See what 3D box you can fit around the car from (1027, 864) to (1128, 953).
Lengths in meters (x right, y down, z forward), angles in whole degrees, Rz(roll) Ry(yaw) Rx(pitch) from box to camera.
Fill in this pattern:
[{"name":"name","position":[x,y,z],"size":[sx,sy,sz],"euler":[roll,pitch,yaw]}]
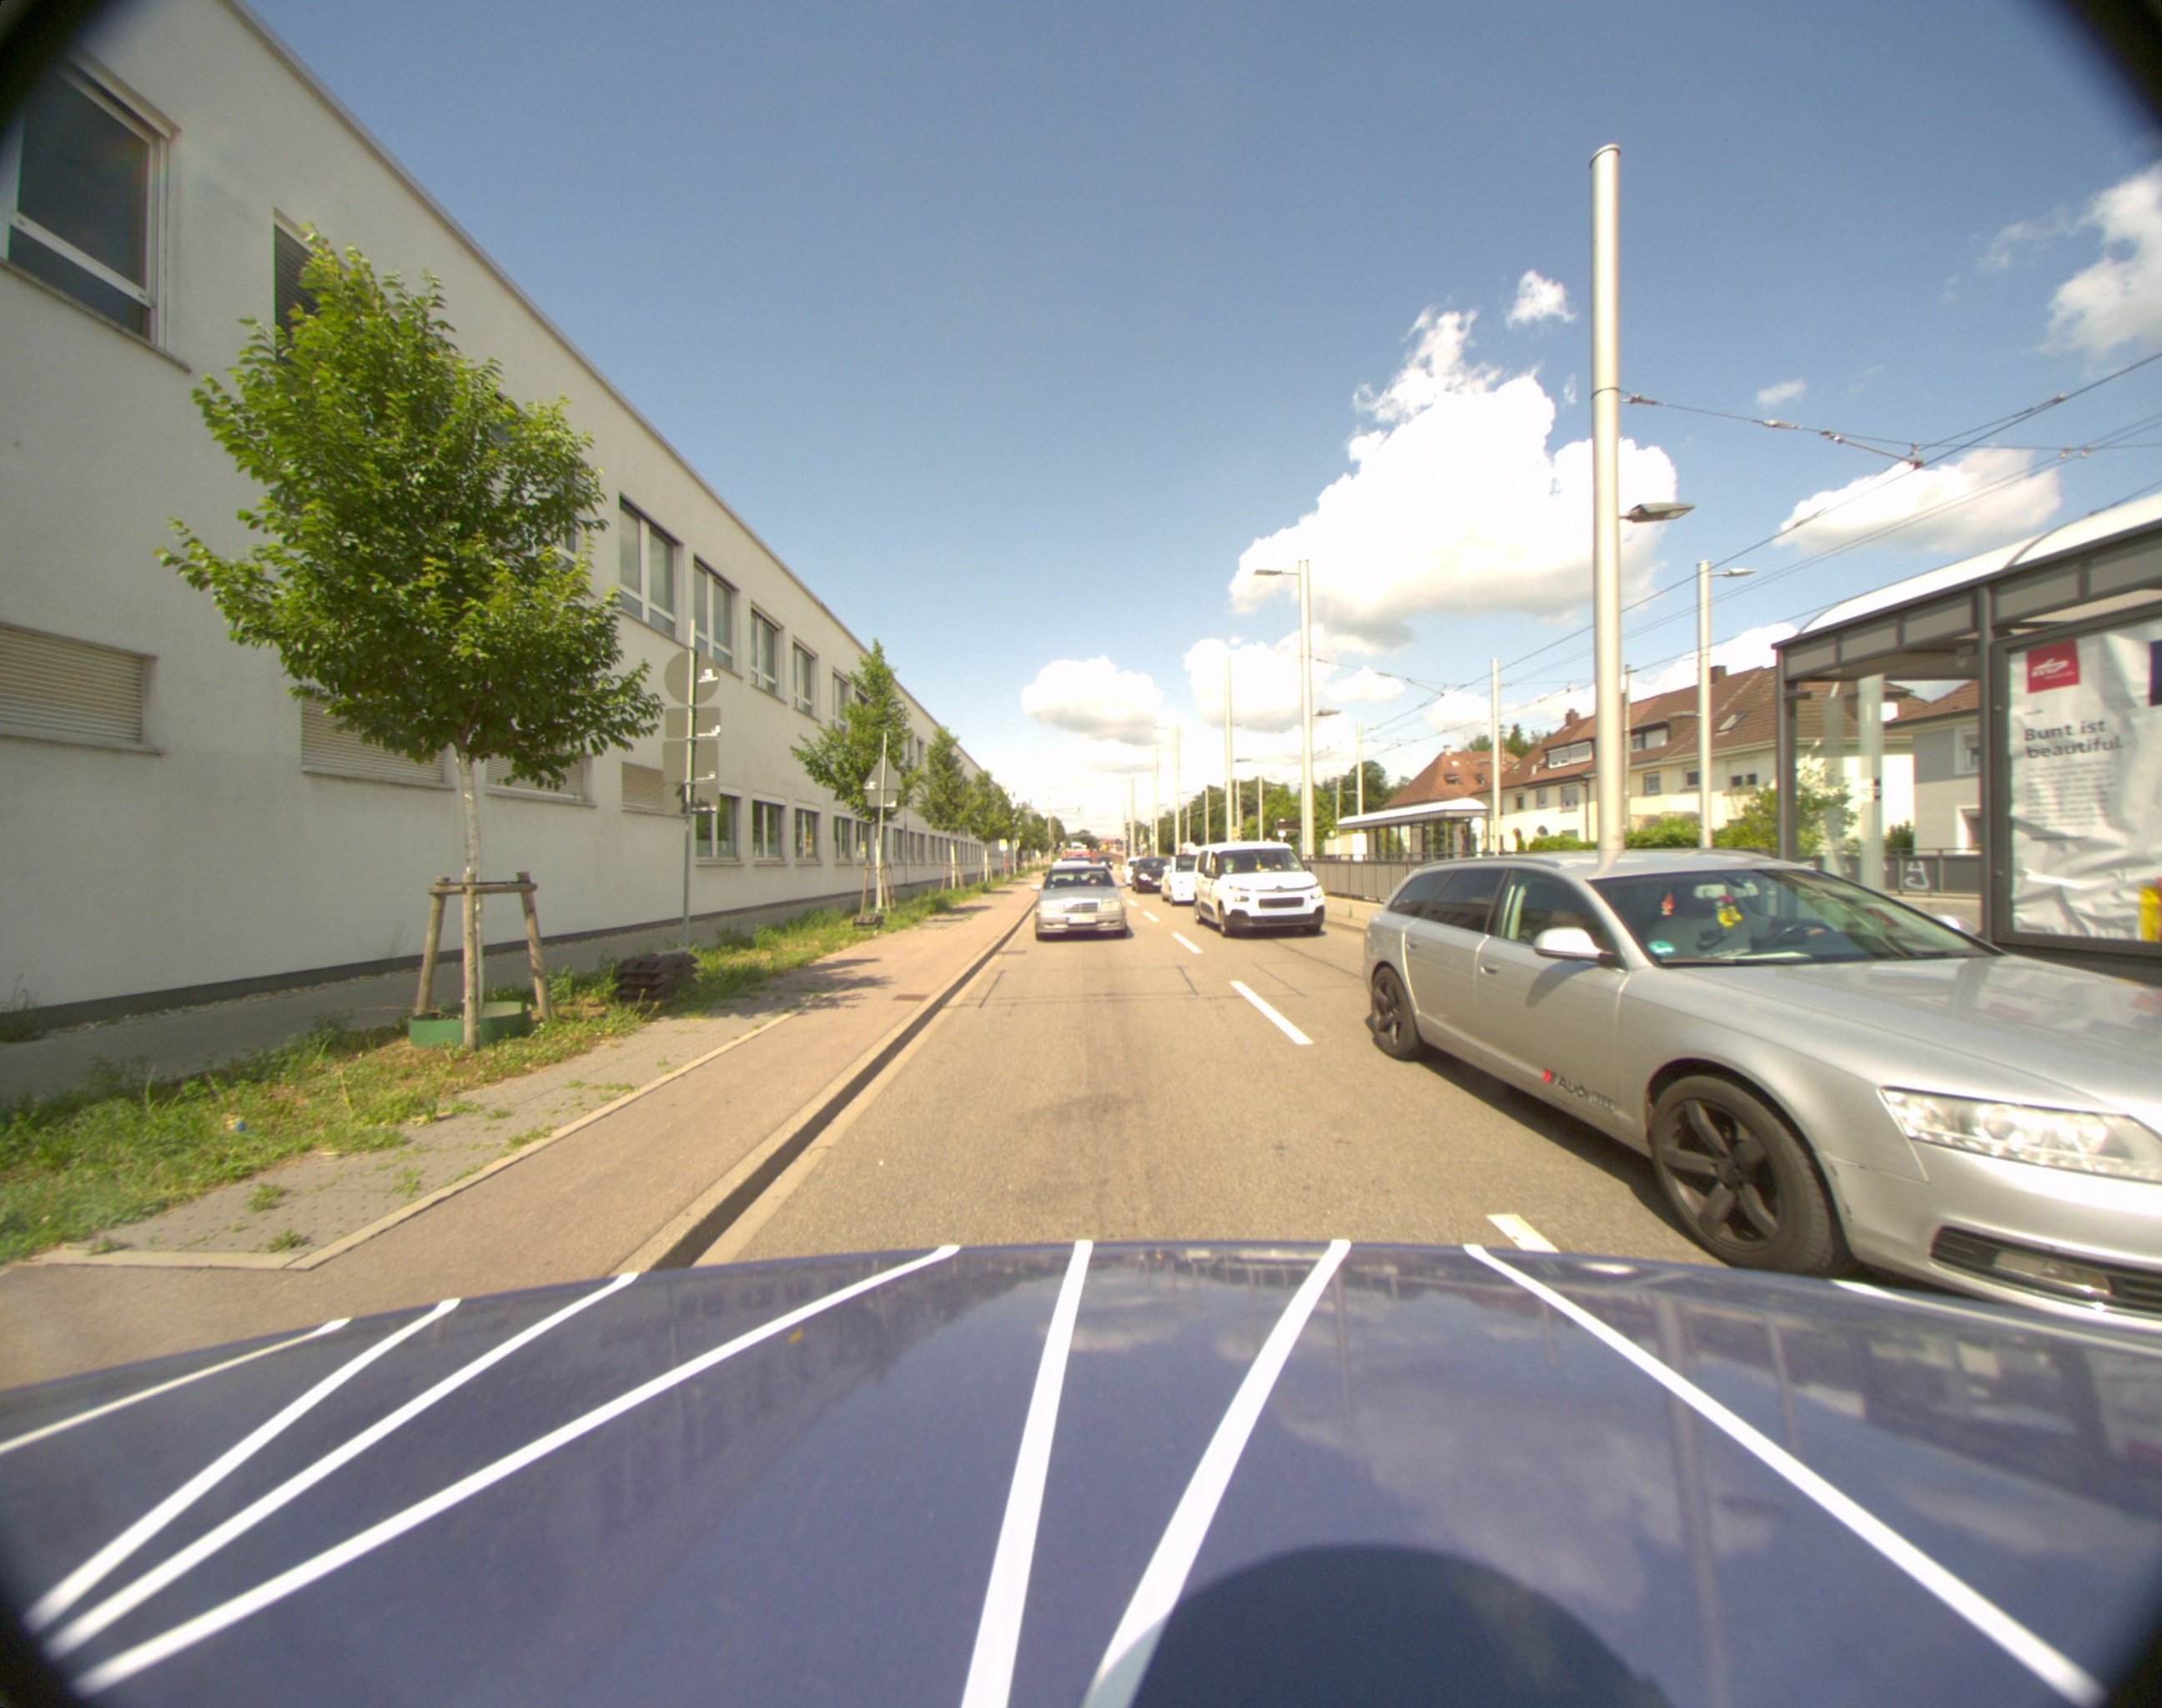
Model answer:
[{"name":"car","position":[-0.070,0.996,15.655],"size":[1.725,1.389,4.462],"euler":[-2,1,0]}]

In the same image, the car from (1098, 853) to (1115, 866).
[{"name":"car","position":[2.965,0.630,88.225],"size":[1.698,1.350,4.498],"euler":[-2,1,0]}]

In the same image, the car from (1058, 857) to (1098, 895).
[{"name":"car","position":[-0.130,0.964,35.137],"size":[1.664,1.529,3.999],"euler":[-2,1,0]}]

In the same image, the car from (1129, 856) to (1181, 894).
[{"name":"car","position":[3.056,0.843,31.879],"size":[1.680,1.414,3.558],"euler":[-2,1,-2]}]

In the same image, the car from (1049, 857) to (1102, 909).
[{"name":"car","position":[-0.183,0.959,26.930],"size":[1.664,1.564,3.999],"euler":[-2,1,0]}]

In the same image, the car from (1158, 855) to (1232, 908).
[{"name":"car","position":[3.502,0.806,23.857],"size":[1.680,1.495,3.393],"euler":[-2,0,-2]}]

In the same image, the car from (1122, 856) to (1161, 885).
[{"name":"car","position":[3.214,0.854,41.027],"size":[1.698,1.350,4.498],"euler":[-2,1,0]}]

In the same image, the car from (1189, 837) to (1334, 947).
[{"name":"car","position":[3.394,0.638,15.134],"size":[1.799,1.804,4.329],"euler":[-2,1,0]}]

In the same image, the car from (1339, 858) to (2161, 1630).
[{"name":"car","position":[3.069,0.820,3.929],"size":[1.799,1.463,4.721],"euler":[-2,1,0]}]

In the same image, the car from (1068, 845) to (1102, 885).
[{"name":"car","position":[0.222,0.569,44.198],"size":[1.787,2.134,5.169],"euler":[-2,1,0]}]
